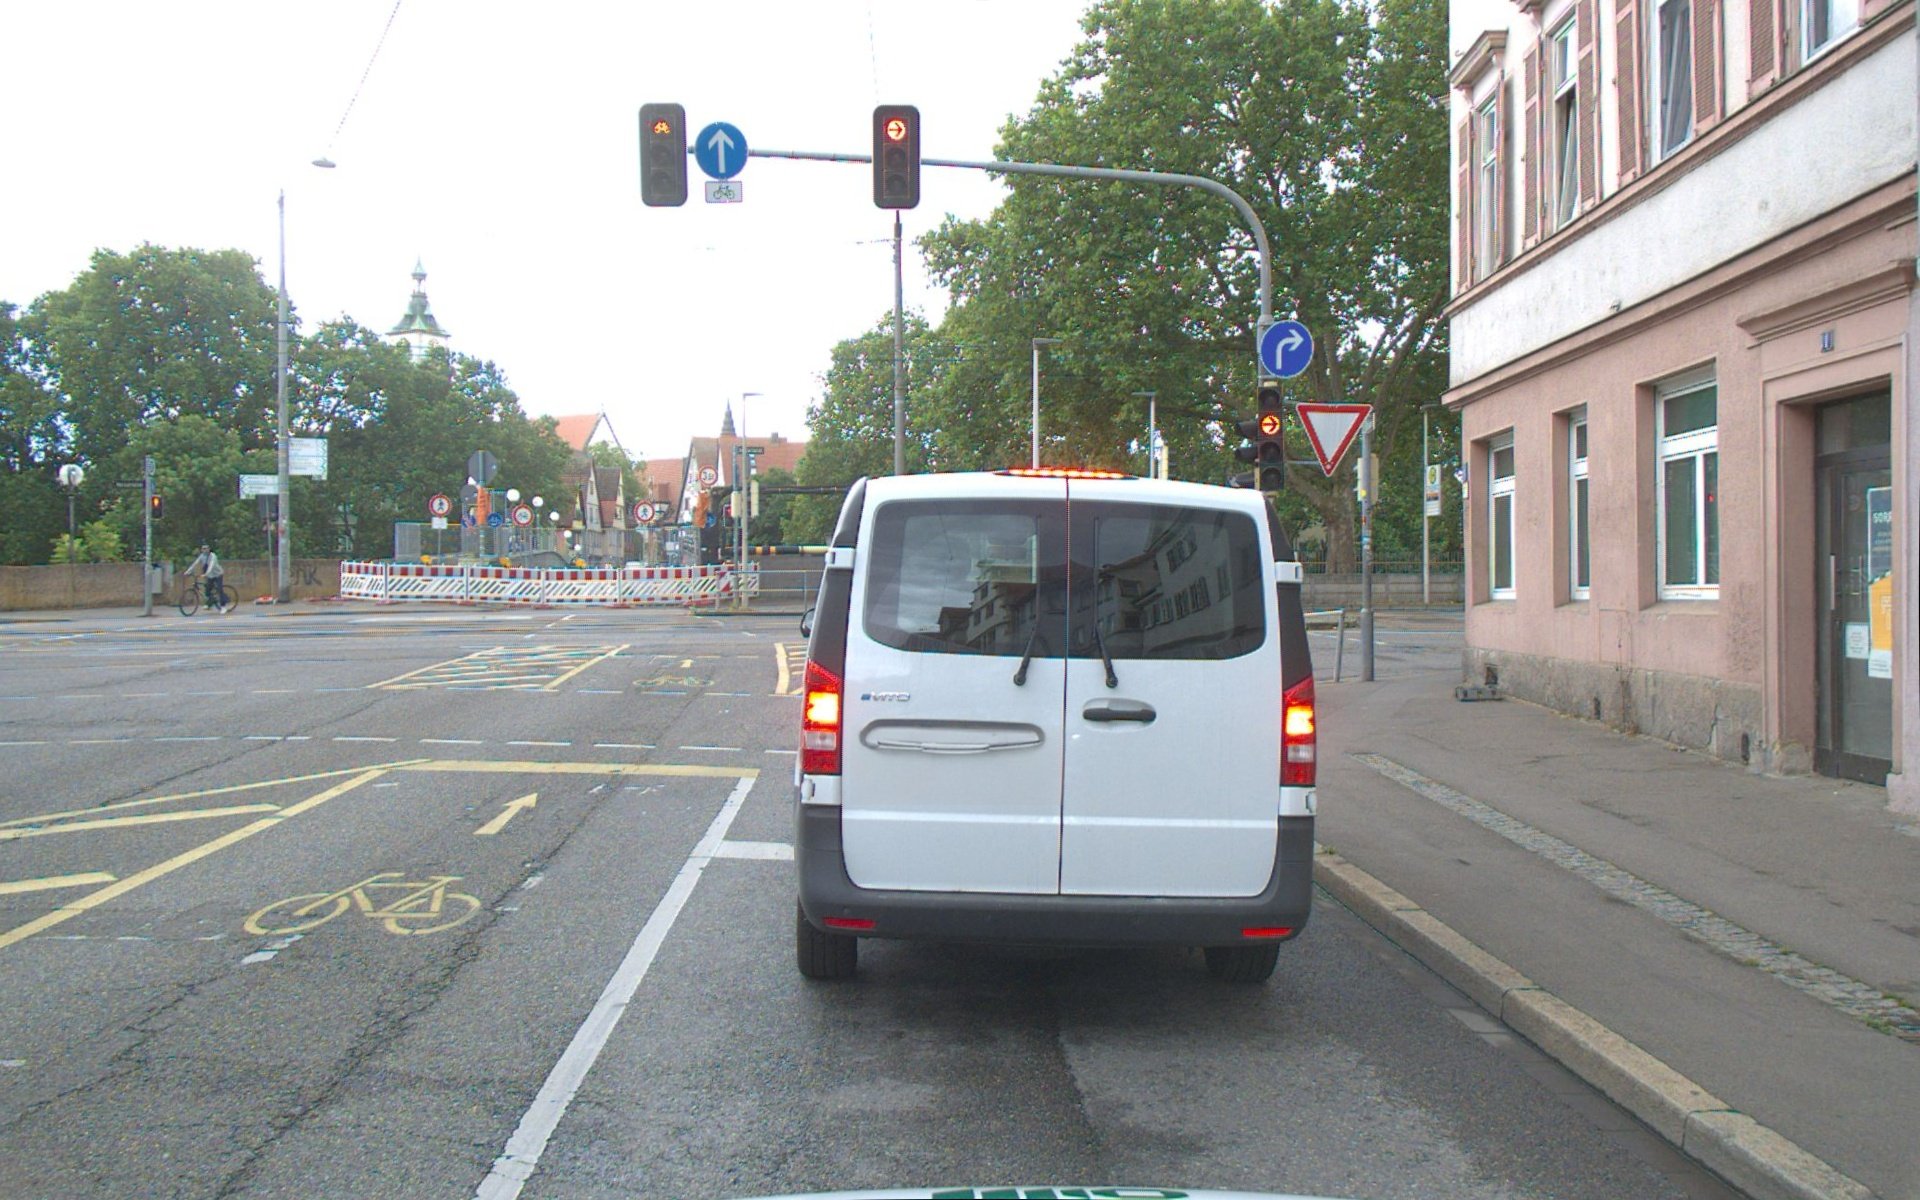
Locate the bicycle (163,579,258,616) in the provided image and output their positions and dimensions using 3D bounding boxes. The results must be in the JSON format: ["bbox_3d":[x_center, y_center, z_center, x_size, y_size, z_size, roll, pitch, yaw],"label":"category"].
[{"bbox_3d":[-19.414,-0.077,42.862,2.121,0.907,0.748,-2,3,-43],"label":"bicycle"}]

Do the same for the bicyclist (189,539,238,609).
[{"bbox_3d":[-19.330,-0.686,42.830,0.997,1.773,0.743,-1,2,-43],"label":"bicyclist"}]

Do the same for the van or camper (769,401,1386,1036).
[{"bbox_3d":[0.260,0.324,7.388,1.899,1.958,4.439,1,1,-3],"label":"van or camper"}]
